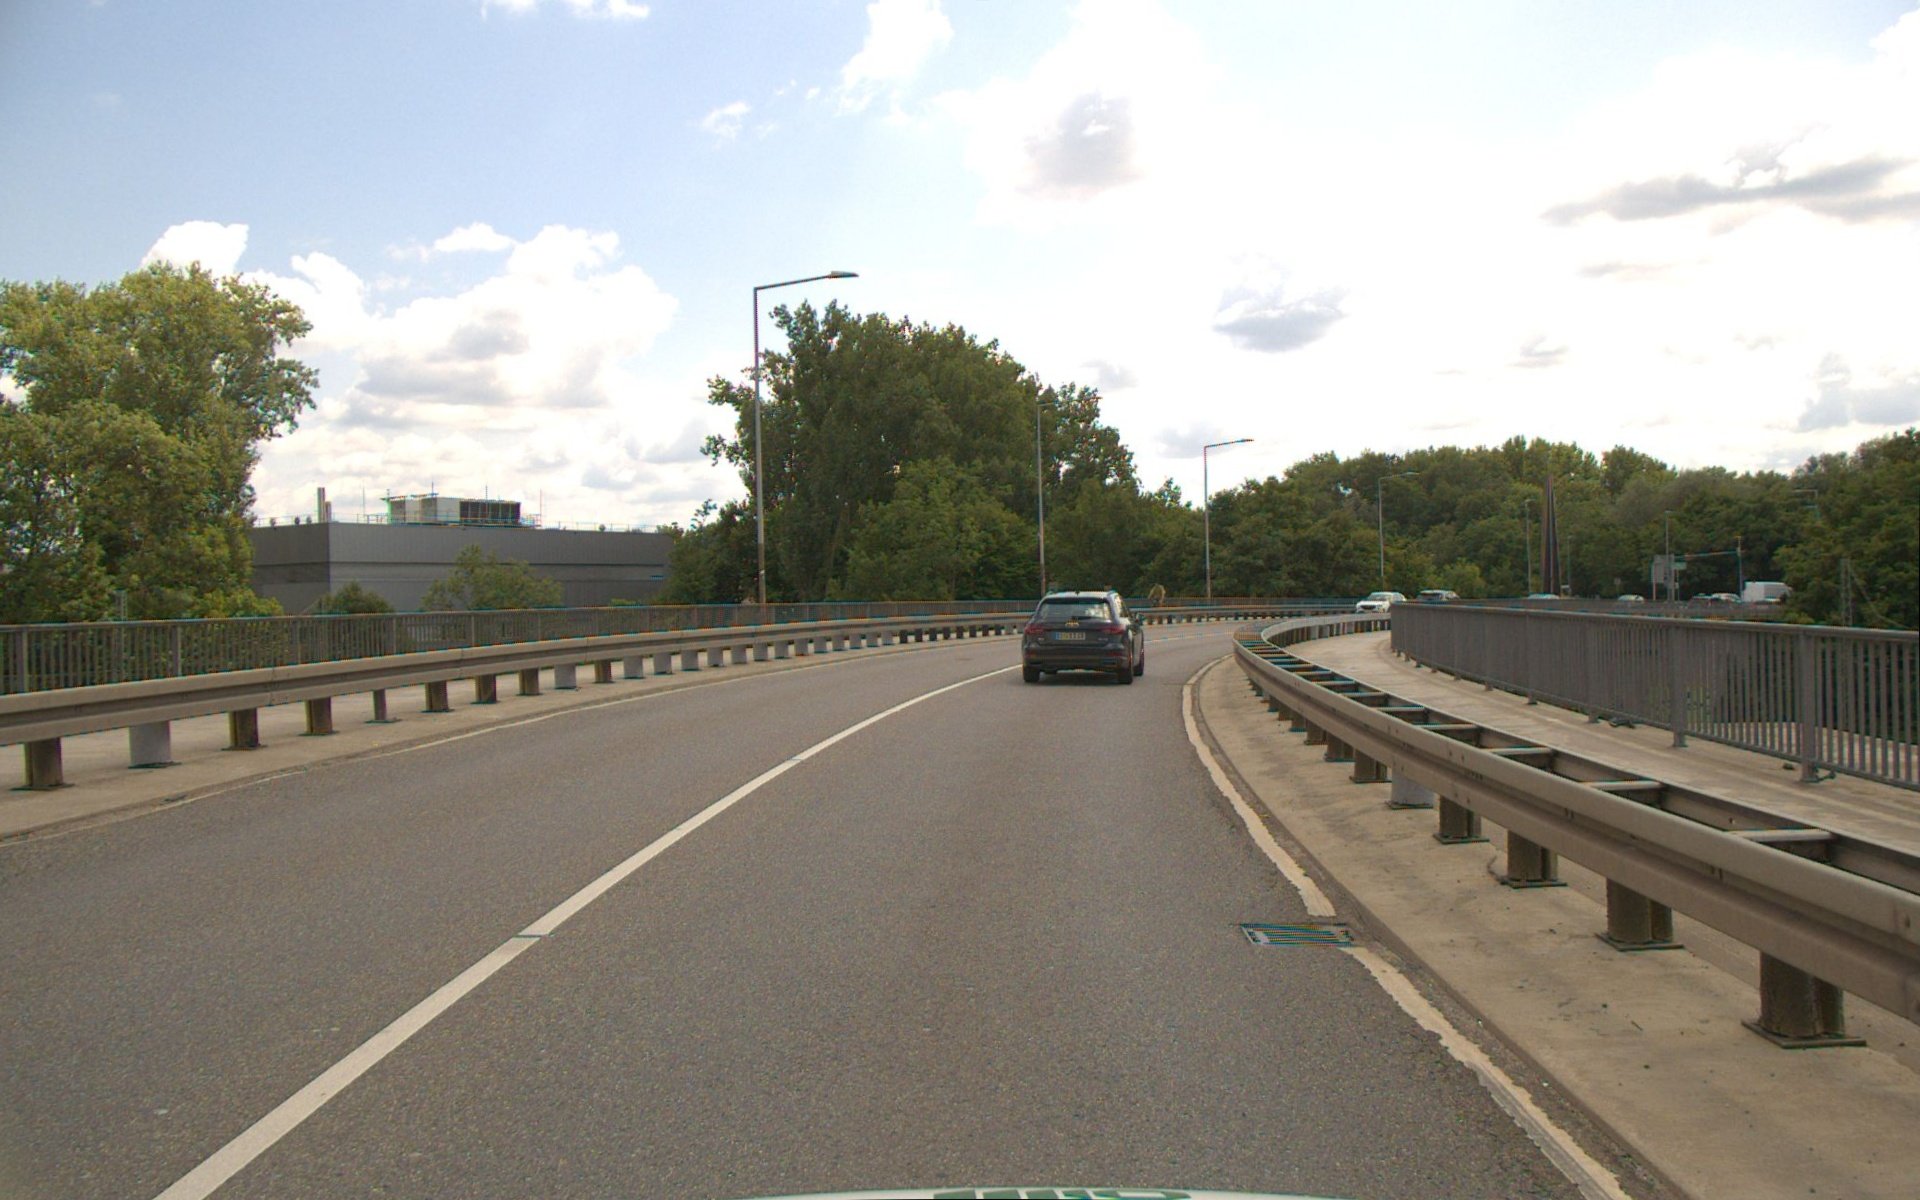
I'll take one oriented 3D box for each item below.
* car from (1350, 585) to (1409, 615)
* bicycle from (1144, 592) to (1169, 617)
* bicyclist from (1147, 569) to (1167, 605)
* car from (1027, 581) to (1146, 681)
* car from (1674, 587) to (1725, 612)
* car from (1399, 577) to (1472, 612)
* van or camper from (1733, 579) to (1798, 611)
[{"bbox_3d":[22.463,-0.029,88.452,1.774,1.562,4.336,1,1,33],"label":"car"},{"bbox_3d":[8.845,0.188,74.347,0.752,1.114,2.116,0,0,18],"label":"bicycle"},{"bbox_3d":[8.868,-0.578,74.433,0.751,1.630,0.948,0,0,18],"label":"bicyclist"},{"bbox_3d":[2.168,0.494,27.376,1.789,1.518,4.209,0,-1,7],"label":"car"},{"bbox_3d":[50.613,-0.059,113.170,3.819,1.680,1.714,0,1,-40],"label":"car"},{"bbox_3d":[23.383,-0.269,81.309,3.827,1.680,1.797,0,1,-45],"label":"car"},{"bbox_3d":[61.436,-0.382,126.131,5.180,2.381,2.253,0,1,-35],"label":"van or camper"}]
